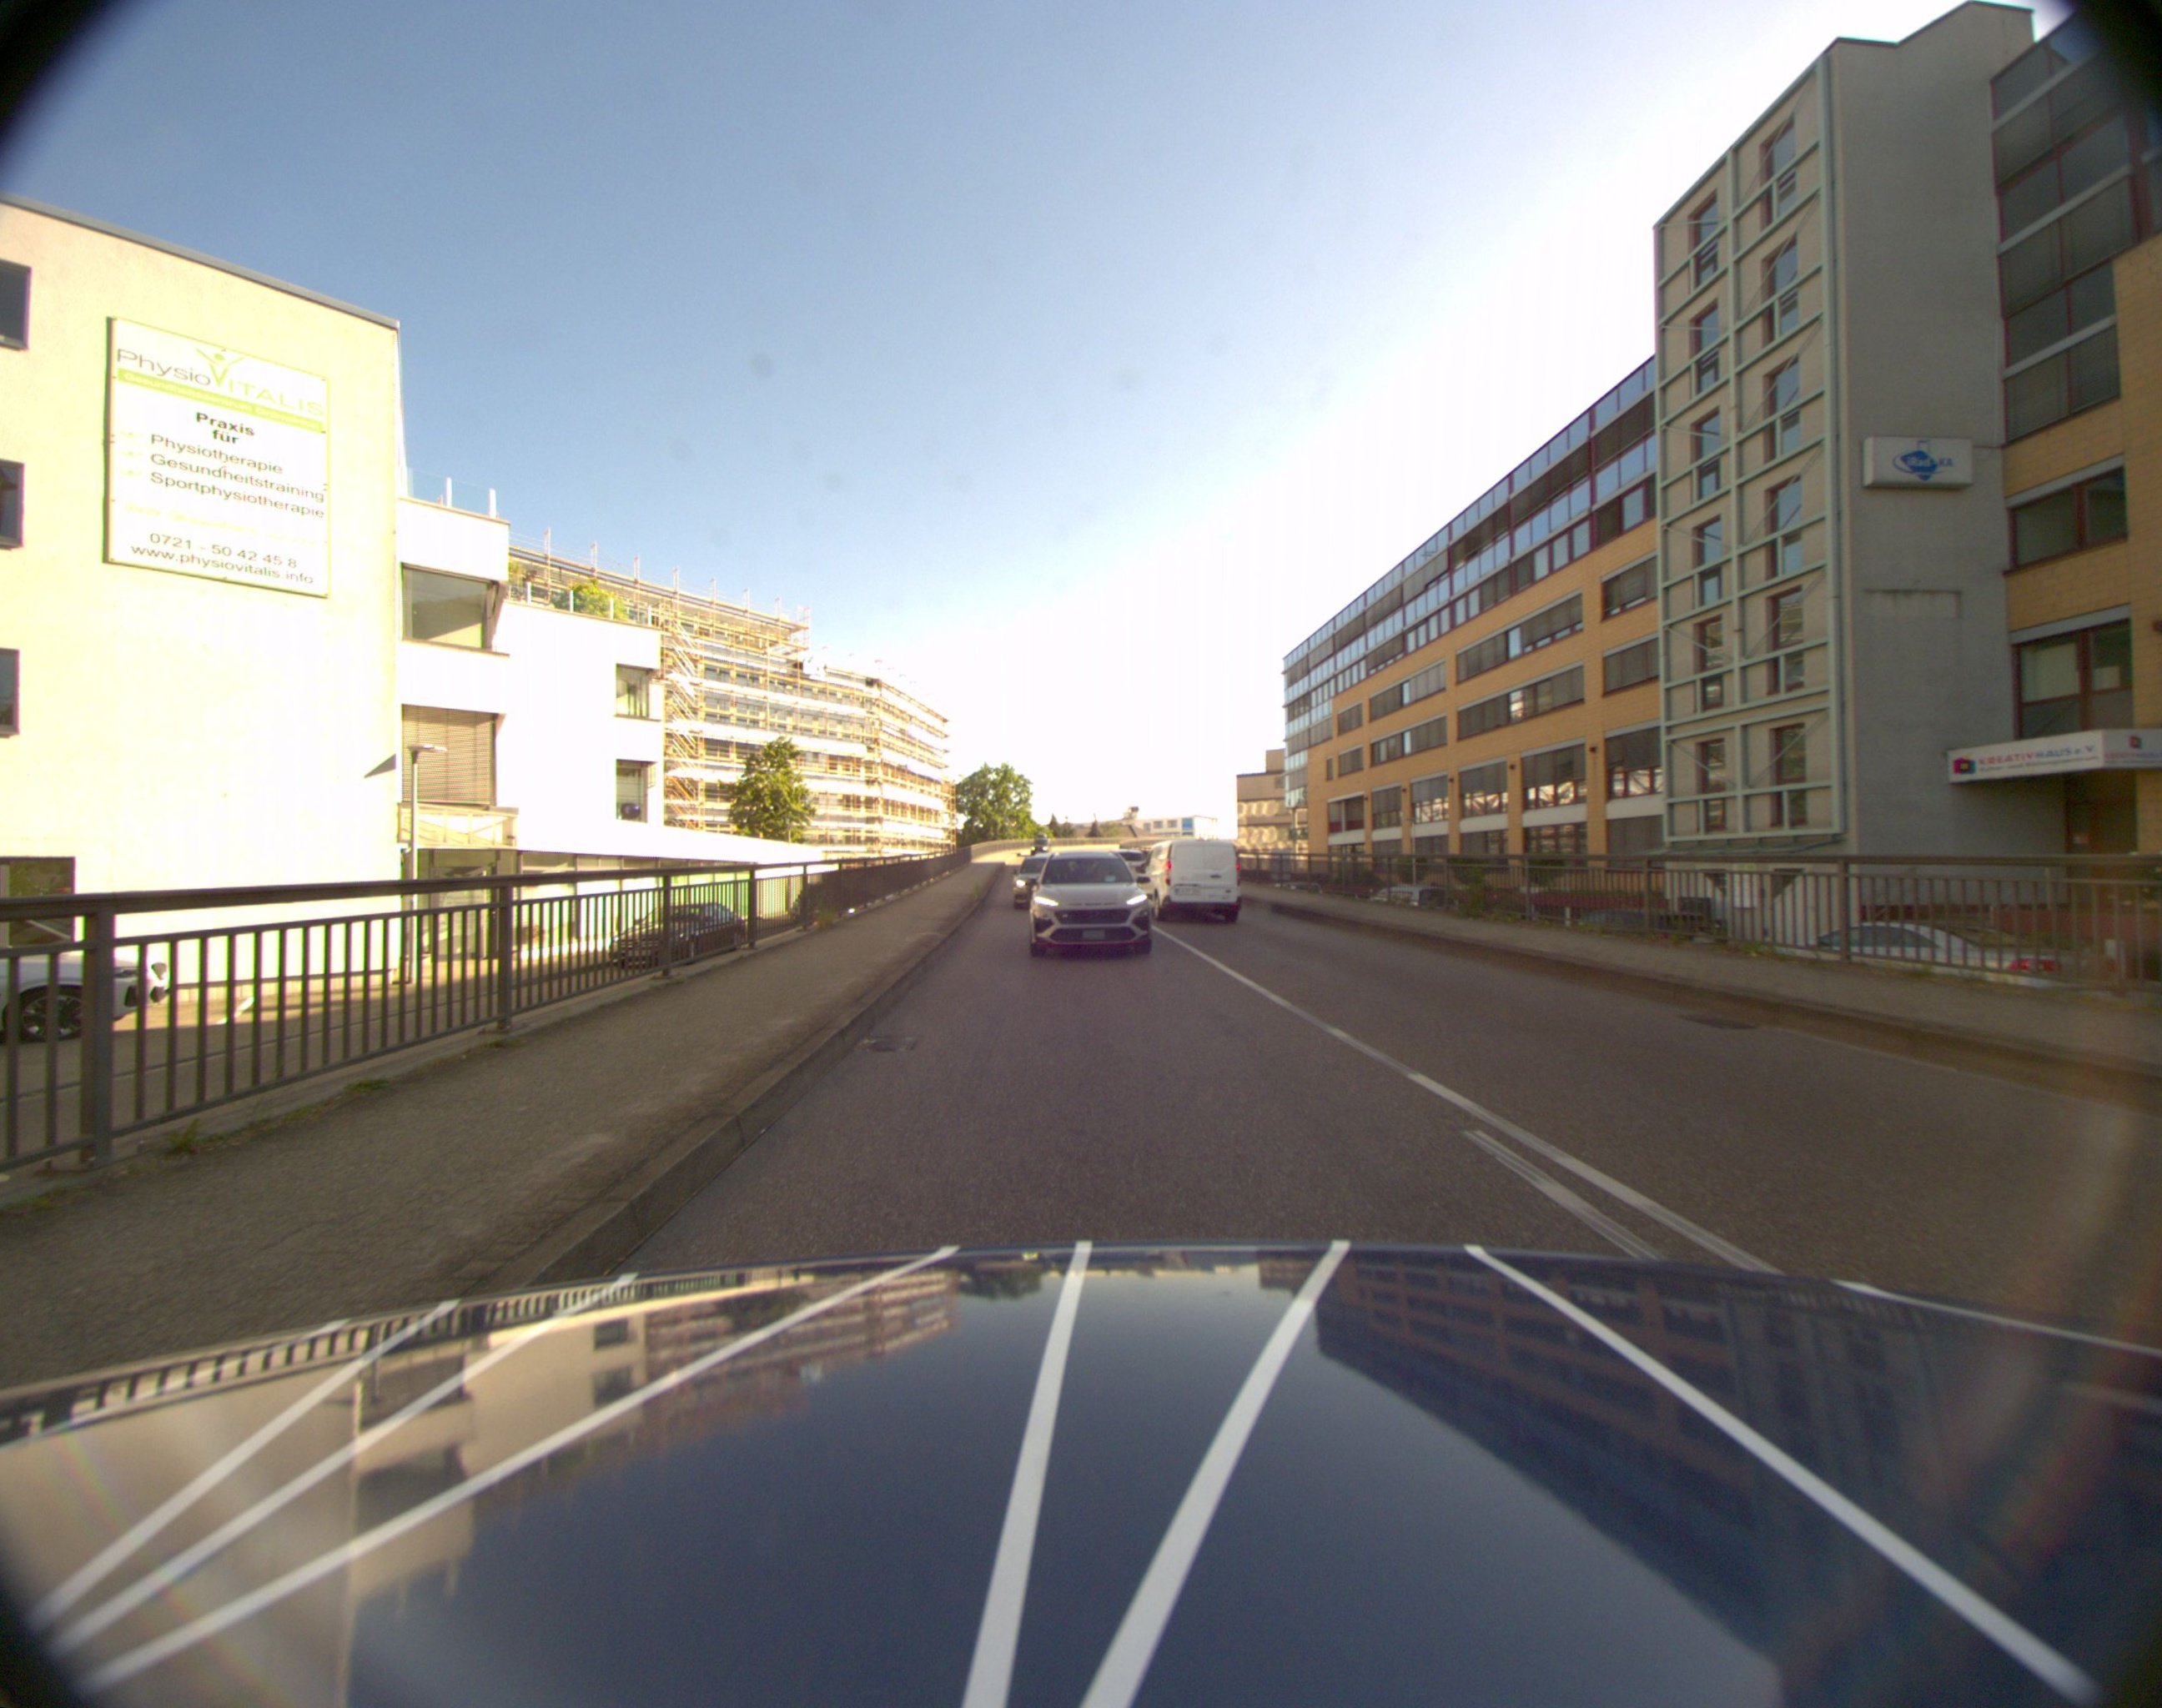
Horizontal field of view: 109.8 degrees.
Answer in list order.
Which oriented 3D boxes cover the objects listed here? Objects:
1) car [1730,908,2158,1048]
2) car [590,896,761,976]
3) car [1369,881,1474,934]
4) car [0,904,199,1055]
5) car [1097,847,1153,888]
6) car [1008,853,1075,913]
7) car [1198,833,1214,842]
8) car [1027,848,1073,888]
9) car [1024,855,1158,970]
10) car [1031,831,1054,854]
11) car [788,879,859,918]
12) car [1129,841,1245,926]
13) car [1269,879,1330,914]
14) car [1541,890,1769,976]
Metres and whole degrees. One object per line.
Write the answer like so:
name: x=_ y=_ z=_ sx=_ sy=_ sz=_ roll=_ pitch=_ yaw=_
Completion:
car: x=13.374 y=1.794 z=12.296 sx=1.825 sy=1.594 sz=4.356 roll=0 pitch=-1 yaw=-4
car: x=-10.143 y=1.988 z=19.505 sx=1.849 sy=1.422 sz=4.681 roll=-2 pitch=1 yaw=0
car: x=12.451 y=1.896 z=28.064 sx=1.999 sy=1.714 sz=4.000 roll=0 pitch=-1 yaw=-1
car: x=-15.073 y=1.718 z=9.736 sx=4.658 sy=1.757 sz=1.823 roll=-2 pitch=1 yaw=-42
car: x=1.834 y=0.542 z=32.643 sx=1.825 sy=1.594 sz=3.998 roll=-3 pitch=0 yaw=-4
car: x=-1.088 y=0.759 z=22.163 sx=1.721 sy=1.483 sz=4.168 roll=-2 pitch=1 yaw=-1
car: x=23.975 y=-3.147 z=145.563 sx=1.821 sy=1.594 sz=4.007 roll=-1 pitch=0 yaw=30
car: x=-1.408 y=0.537 z=32.923 sx=1.850 sy=1.527 sz=4.506 roll=-2 pitch=1 yaw=-4
car: x=0.061 y=0.823 z=12.743 sx=1.849 sy=1.561 sz=4.220 roll=-1 pitch=0 yaw=-2
car: x=-3.904 y=-1.184 z=77.078 sx=1.909 sy=2.202 sz=4.597 roll=-1 pitch=3 yaw=2
car: x=-11.246 y=1.907 z=33.442 sx=1.849 sy=1.526 sz=4.000 roll=0 pitch=-1 yaw=-1
car: x=2.402 y=0.662 z=18.563 sx=1.815 sy=1.790 sz=5.119 roll=0 pitch=-1 yaw=-4
car: x=11.417 y=2.177 z=40.011 sx=1.999 sy=1.652 sz=4.000 roll=0 pitch=-1 yaw=-1
car: x=13.095 y=1.722 z=17.749 sx=1.825 sy=1.594 sz=4.356 roll=0 pitch=-1 yaw=-4
